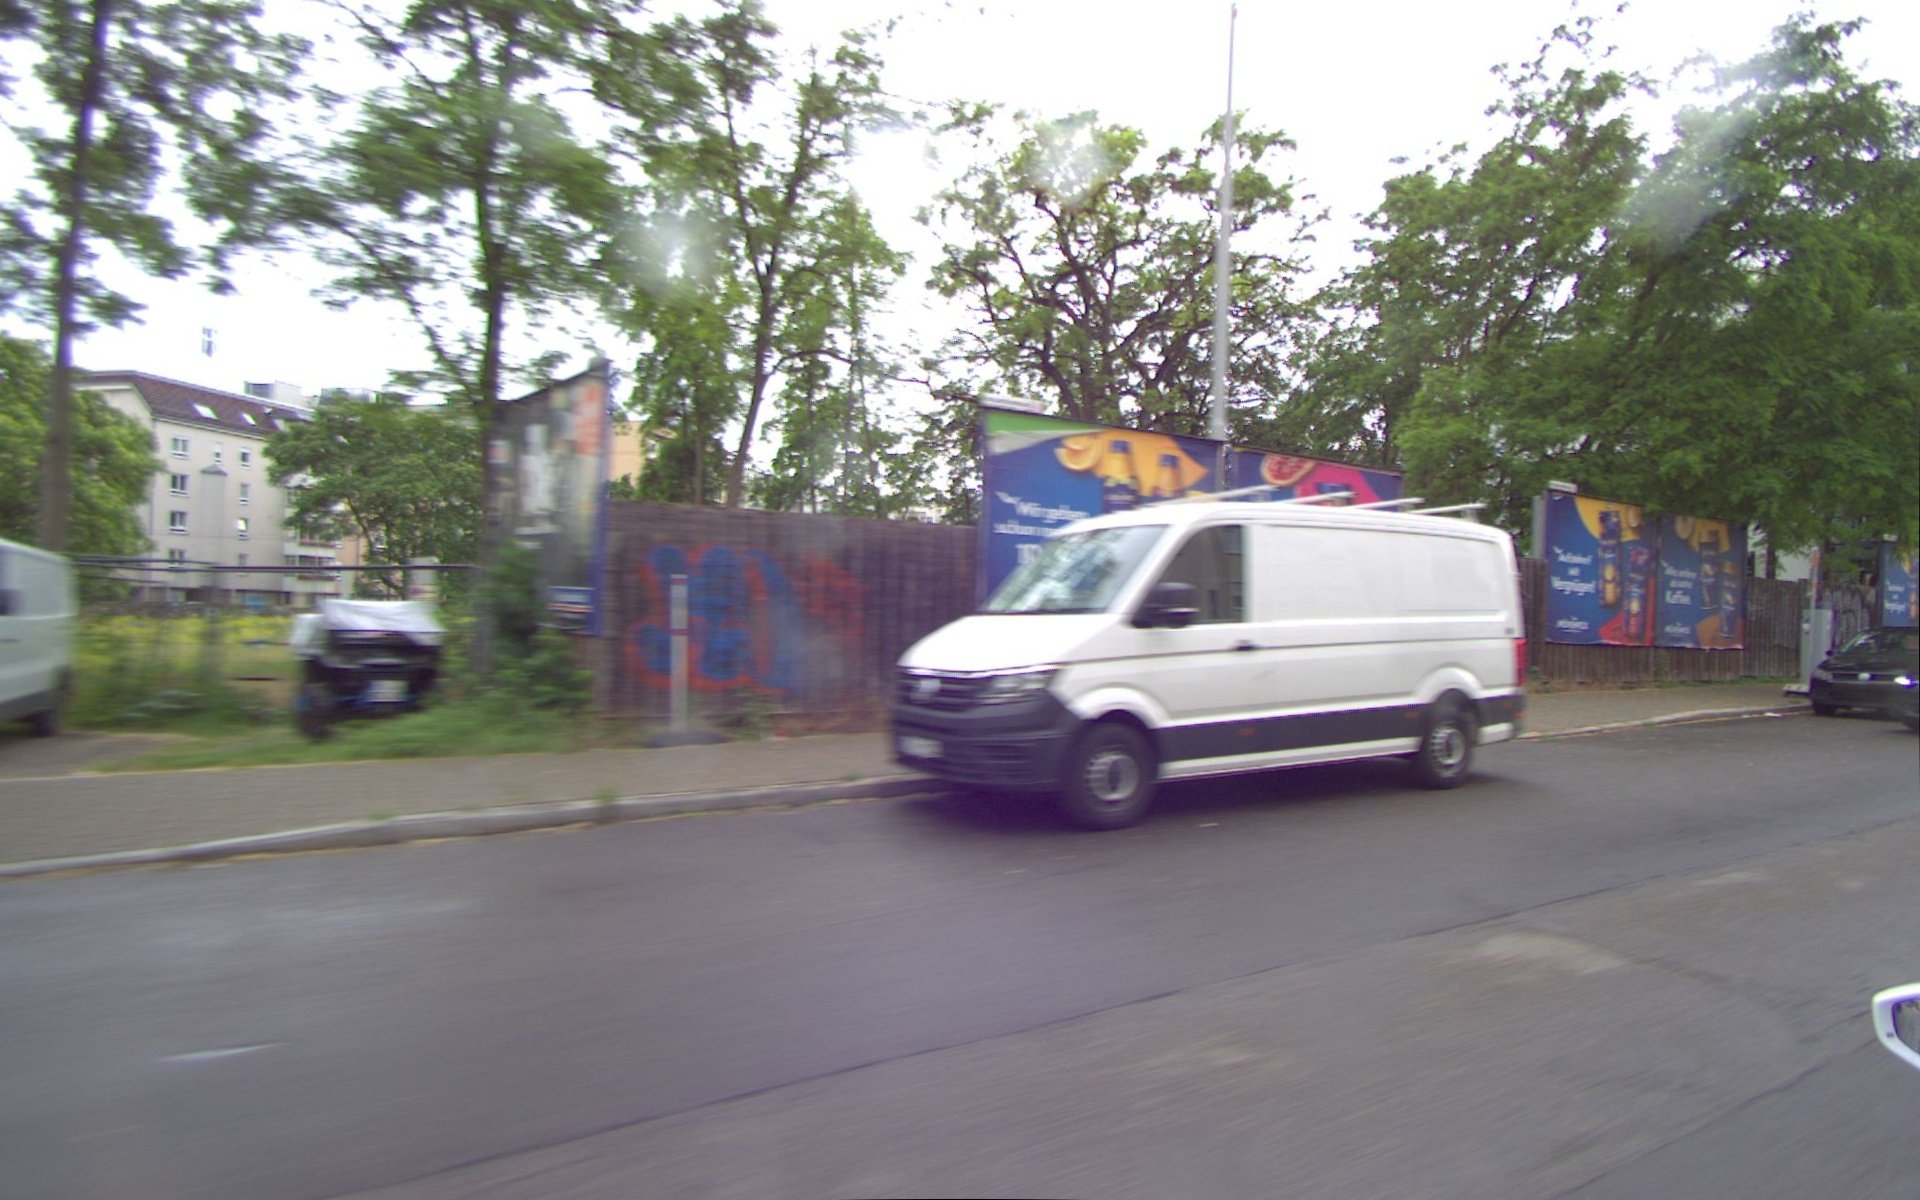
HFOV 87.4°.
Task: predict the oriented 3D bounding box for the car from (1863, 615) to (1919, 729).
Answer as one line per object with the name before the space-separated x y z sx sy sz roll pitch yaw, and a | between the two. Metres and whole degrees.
car | 14.285 0.959 13.108 4.314 1.434 1.804 1 0 -18

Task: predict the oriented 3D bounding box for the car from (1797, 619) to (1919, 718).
car | 15.109 1.055 15.937 3.866 1.417 1.674 2 -2 -31

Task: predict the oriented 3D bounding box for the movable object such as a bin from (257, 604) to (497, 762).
movable object such as a bin | -6.286 0.791 10.753 1.664 1.443 2.668 1 -1 -43

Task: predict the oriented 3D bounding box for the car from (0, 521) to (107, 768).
car | -9.571 0.375 8.971 2.122 2.036 5.470 1 -1 -31

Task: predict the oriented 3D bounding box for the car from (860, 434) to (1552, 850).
car | 2.273 0.309 8.433 5.911 2.520 2.003 1 -1 -30
